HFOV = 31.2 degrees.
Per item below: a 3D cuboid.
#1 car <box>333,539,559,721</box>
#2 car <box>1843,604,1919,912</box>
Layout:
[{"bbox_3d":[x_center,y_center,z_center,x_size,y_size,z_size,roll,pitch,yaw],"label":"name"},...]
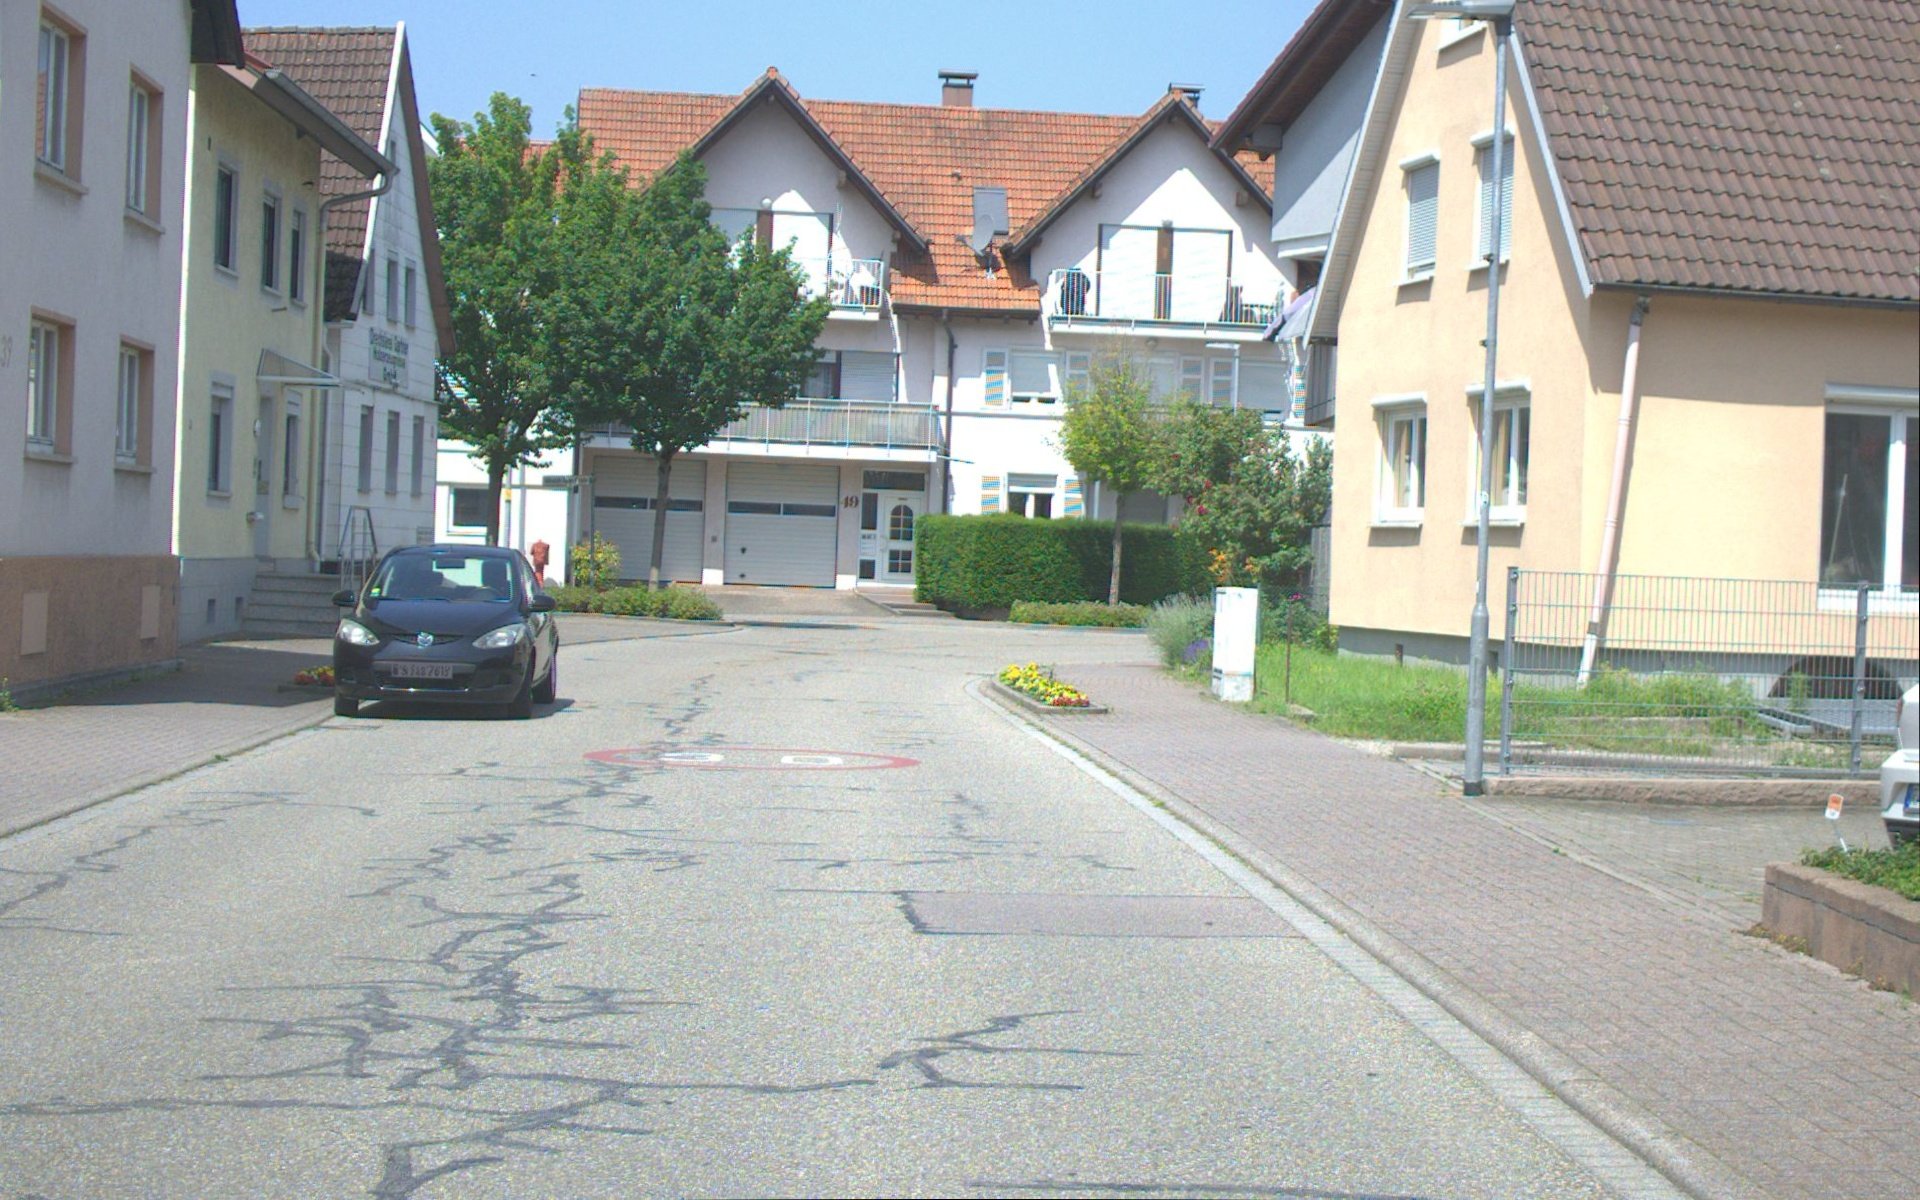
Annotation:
[{"bbox_3d":[-4.486,0.214,30.457,1.626,1.481,4.001,1,1,-4],"label":"car"},{"bbox_3d":[5.693,0.728,15.360,3.042,1.341,1.423,1,0,-9],"label":"car"}]
